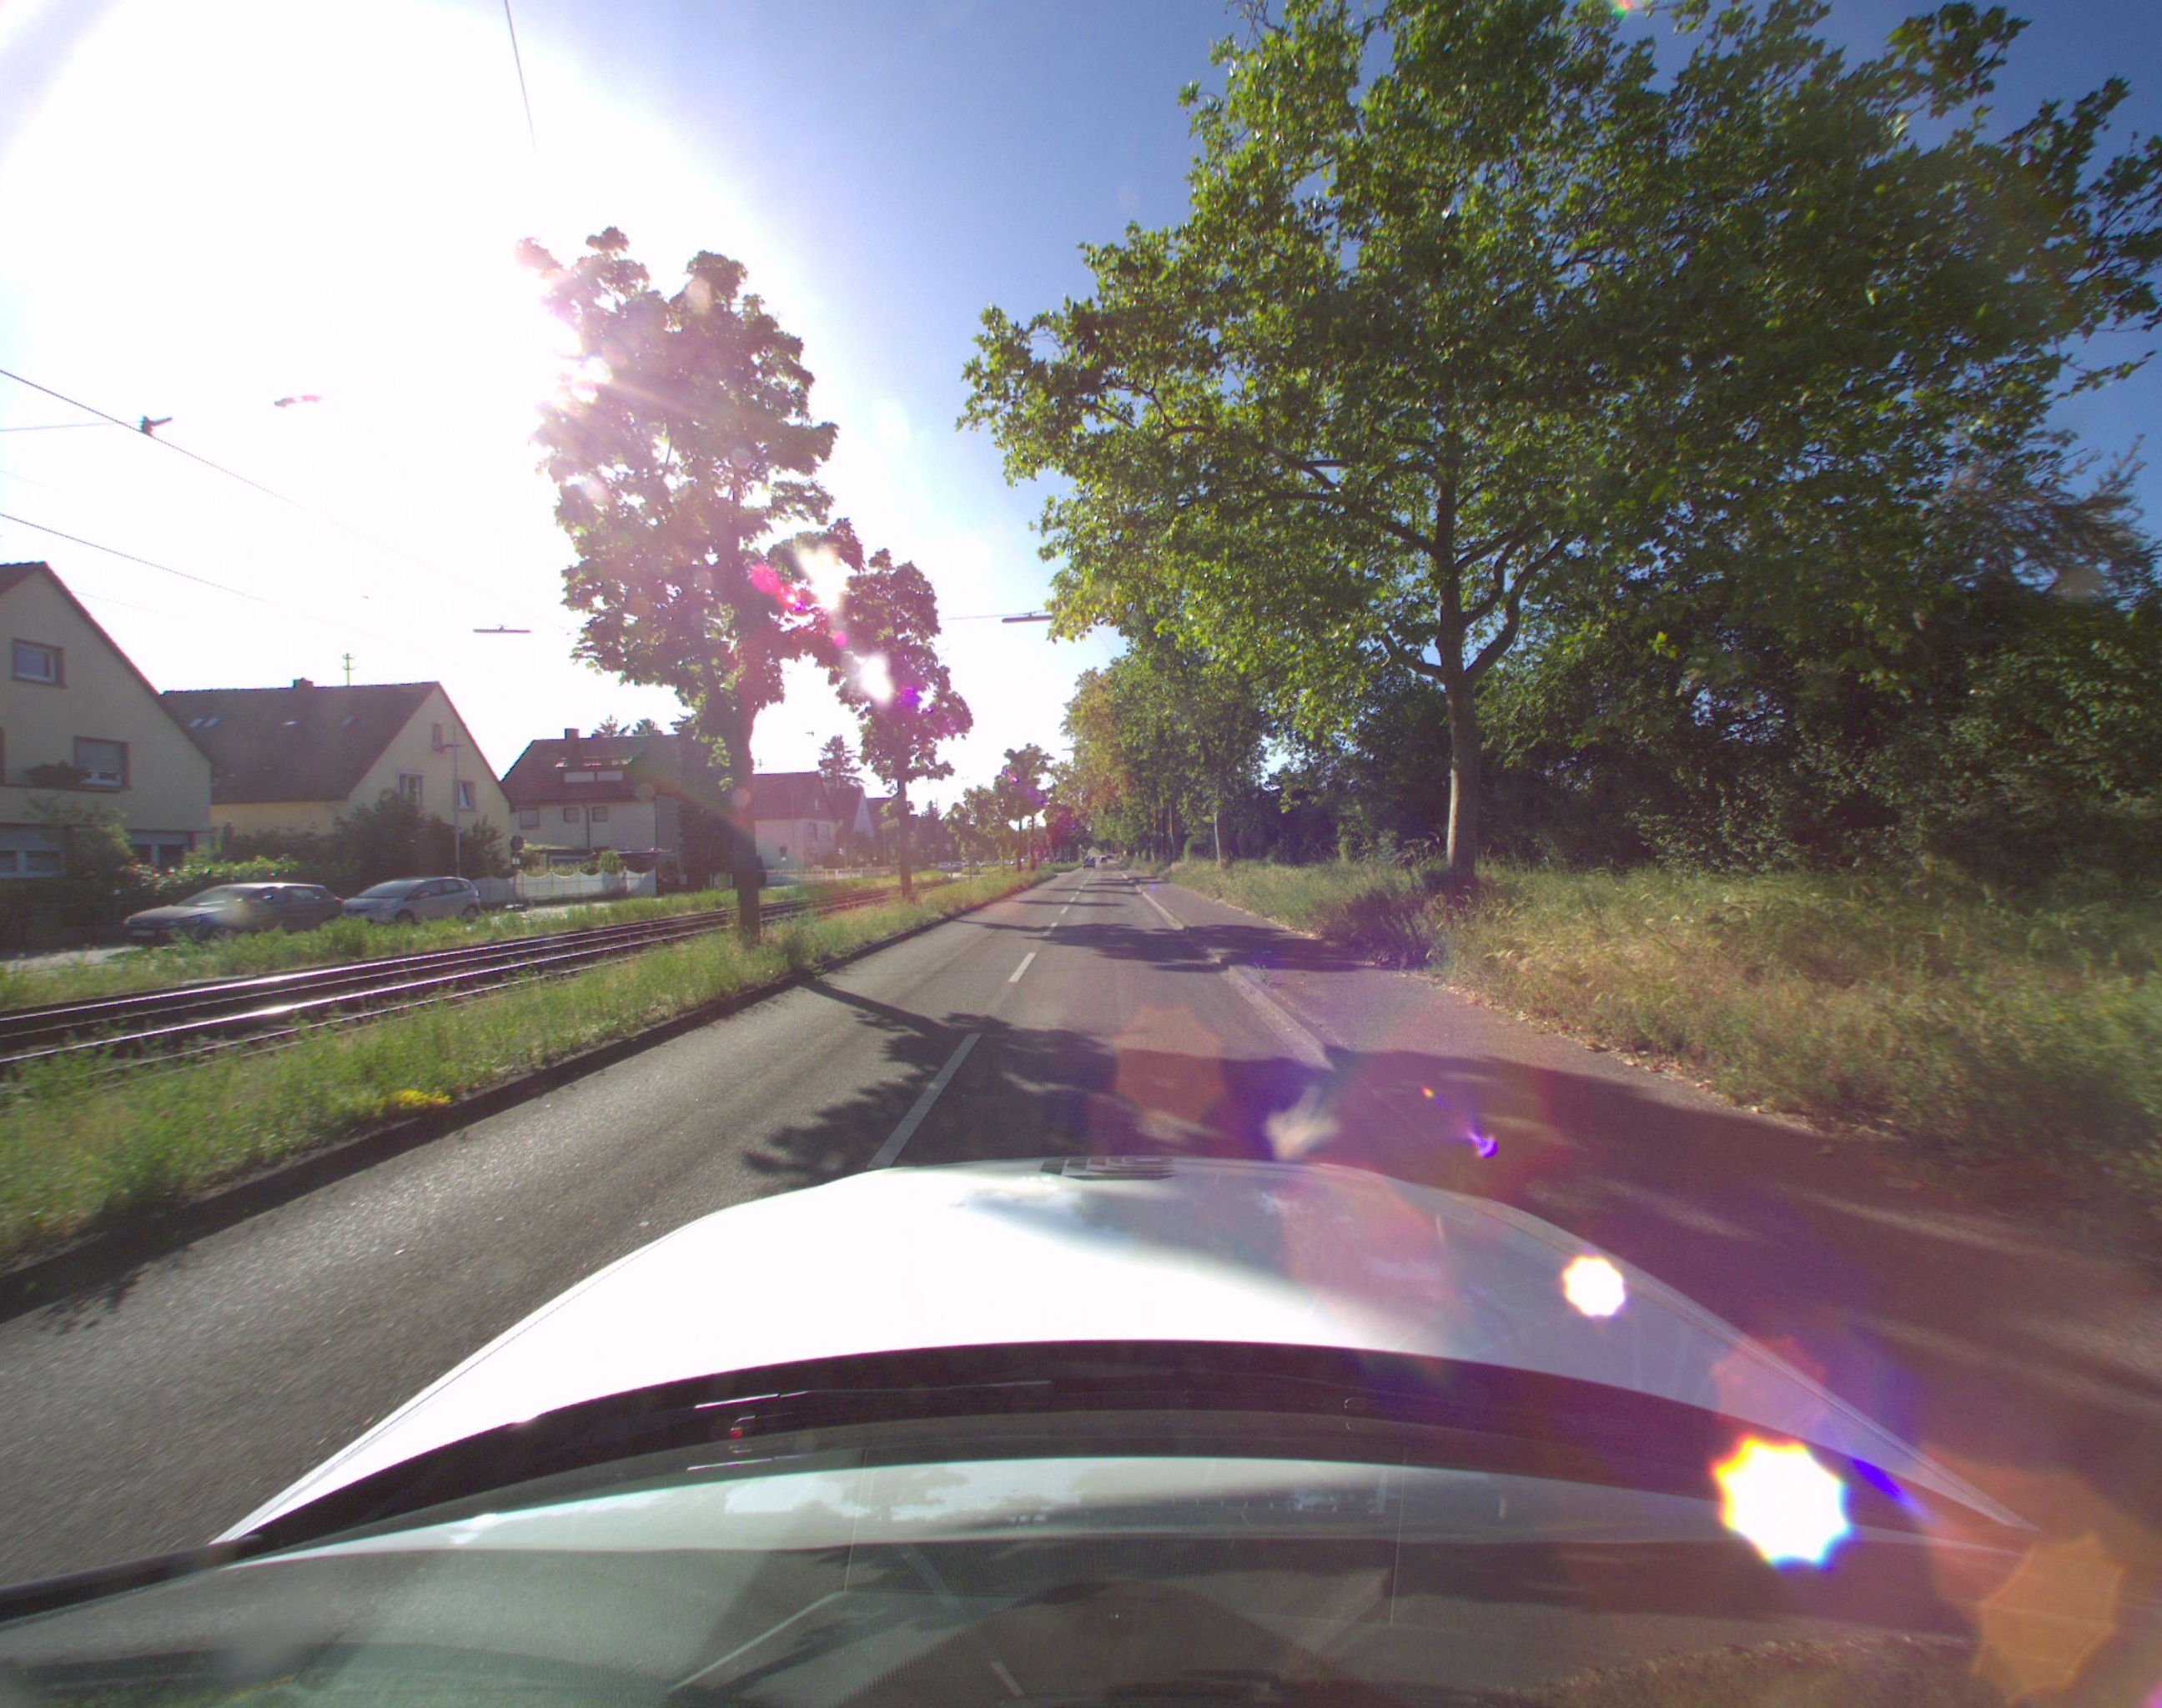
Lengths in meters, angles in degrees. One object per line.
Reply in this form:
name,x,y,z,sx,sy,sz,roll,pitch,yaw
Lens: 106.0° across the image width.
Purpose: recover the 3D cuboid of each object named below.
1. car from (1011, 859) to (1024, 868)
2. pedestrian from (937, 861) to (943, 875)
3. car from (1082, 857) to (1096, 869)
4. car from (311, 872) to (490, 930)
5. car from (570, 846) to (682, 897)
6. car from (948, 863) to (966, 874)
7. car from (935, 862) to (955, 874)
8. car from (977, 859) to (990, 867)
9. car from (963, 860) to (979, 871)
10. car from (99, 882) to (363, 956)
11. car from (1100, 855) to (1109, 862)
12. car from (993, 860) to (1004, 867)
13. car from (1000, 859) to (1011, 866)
car,-12.097,1.763,154.665,1.986,1.603,4.474,-1,-1,1
pedestrian,-20.349,2.012,117.622,0.678,2.014,0.772,-1,-1,1
car,1.068,1.201,109.241,1.853,1.601,4.229,-1,-1,1
car,-20.397,1.353,24.685,1.939,1.553,4.058,-1,-1,1
car,-25.549,0.956,45.824,5.010,2.625,2.103,-2,0,1
car,-17.823,2.068,117.279,1.723,1.466,4.603,-1,-1,1
car,-18.075,1.836,108.465,1.853,1.542,4.229,-1,-1,1
car,-17.662,1.681,147.840,1.853,1.369,4.229,-1,-1,1
car,-17.277,1.745,128.440,1.741,1.651,4.556,-1,-1,1
car,-20.452,1.494,19.904,1.986,1.450,4.129,2,0,1
car,5.267,0.985,184.053,1.986,1.603,4.474,-1,-1,1
car,-16.816,1.992,166.503,1.853,1.413,4.159,-1,-1,1
car,-16.273,1.862,176.774,1.853,1.431,4.463,-1,-1,1
